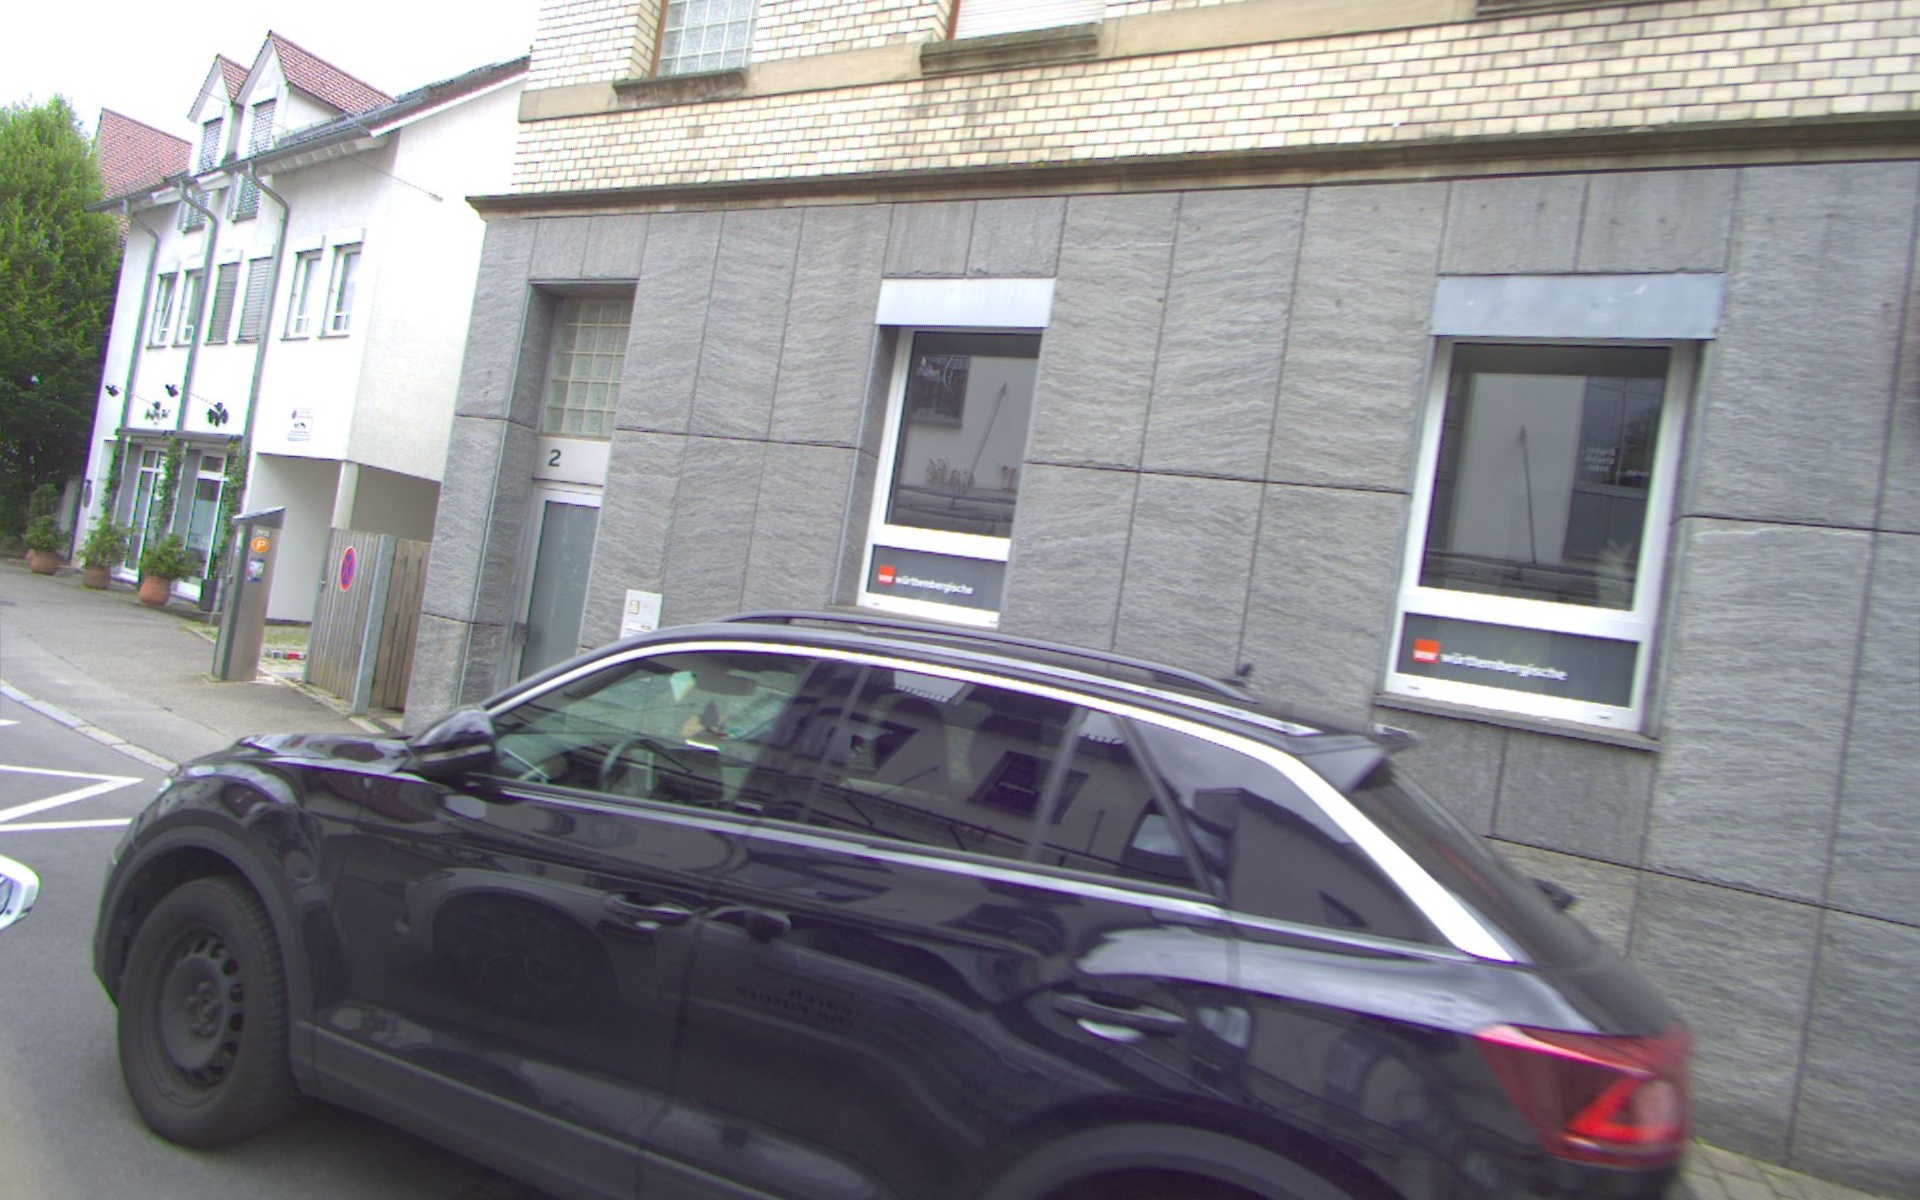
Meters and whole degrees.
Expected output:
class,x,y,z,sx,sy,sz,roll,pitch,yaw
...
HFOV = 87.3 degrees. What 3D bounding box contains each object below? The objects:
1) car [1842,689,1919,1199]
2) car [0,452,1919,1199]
class,x,y,z,sx,sy,sz,roll,pitch,yaw
car,3.883,1.310,0.945,4.140,1.811,1.834,9,-3,21
car,-0.533,0.762,2.813,4.458,1.617,1.796,8,-3,22
